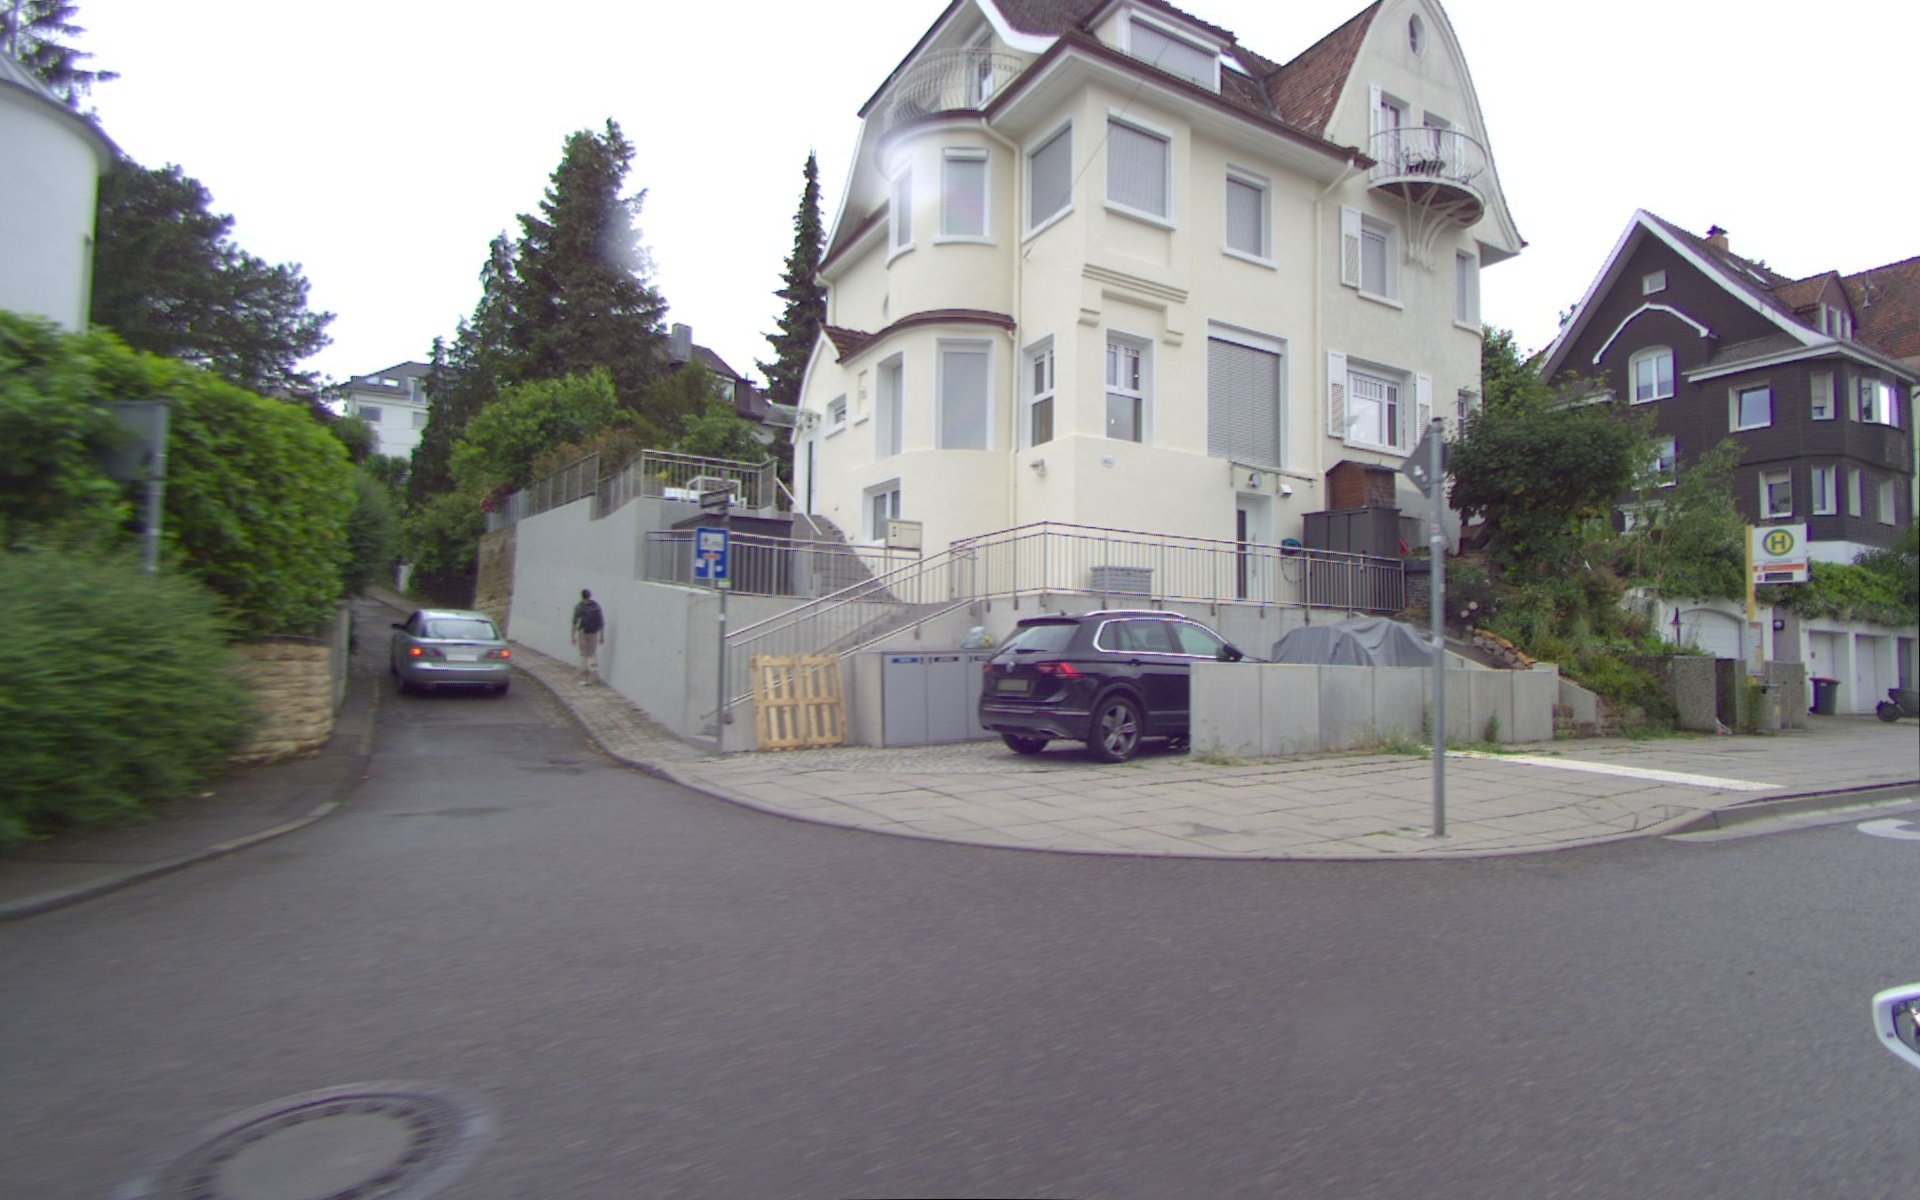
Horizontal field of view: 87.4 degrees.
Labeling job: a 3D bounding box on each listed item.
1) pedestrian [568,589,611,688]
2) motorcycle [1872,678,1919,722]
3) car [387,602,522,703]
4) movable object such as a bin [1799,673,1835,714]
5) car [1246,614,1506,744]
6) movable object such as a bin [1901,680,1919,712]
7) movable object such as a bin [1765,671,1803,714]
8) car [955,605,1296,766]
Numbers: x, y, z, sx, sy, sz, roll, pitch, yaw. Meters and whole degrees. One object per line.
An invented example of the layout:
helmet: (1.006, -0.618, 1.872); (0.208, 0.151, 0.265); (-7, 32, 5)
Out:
pedestrian: (-7.251, 0.752, 19.653); (0.632, 1.876, 0.805); (1, -2, -31)
motorcycle: (21.455, 2.240, 22.233); (0.596, 0.915, 1.785); (3, -1, -30)
car: (-9.611, 0.891, 18.915); (1.803, 1.577, 4.339); (1, 1, -33)
movable object such as a bin: (21.312, 2.319, 24.977); (0.508, 0.966, 0.570); (1, -2, -35)
car: (6.321, 1.101, 15.148); (3.959, 1.719, 1.755); (1, -2, -35)
movable object such as a bin: (27.558, 2.751, 28.836); (0.609, 0.900, 0.488); (-1, -2, 16)
movable object such as a bin: (19.724, 2.206, 24.050); (0.508, 0.966, 0.570); (1, -2, -35)
car: (2.058, 0.924, 12.083); (3.959, 1.639, 1.755); (1, -2, -35)
